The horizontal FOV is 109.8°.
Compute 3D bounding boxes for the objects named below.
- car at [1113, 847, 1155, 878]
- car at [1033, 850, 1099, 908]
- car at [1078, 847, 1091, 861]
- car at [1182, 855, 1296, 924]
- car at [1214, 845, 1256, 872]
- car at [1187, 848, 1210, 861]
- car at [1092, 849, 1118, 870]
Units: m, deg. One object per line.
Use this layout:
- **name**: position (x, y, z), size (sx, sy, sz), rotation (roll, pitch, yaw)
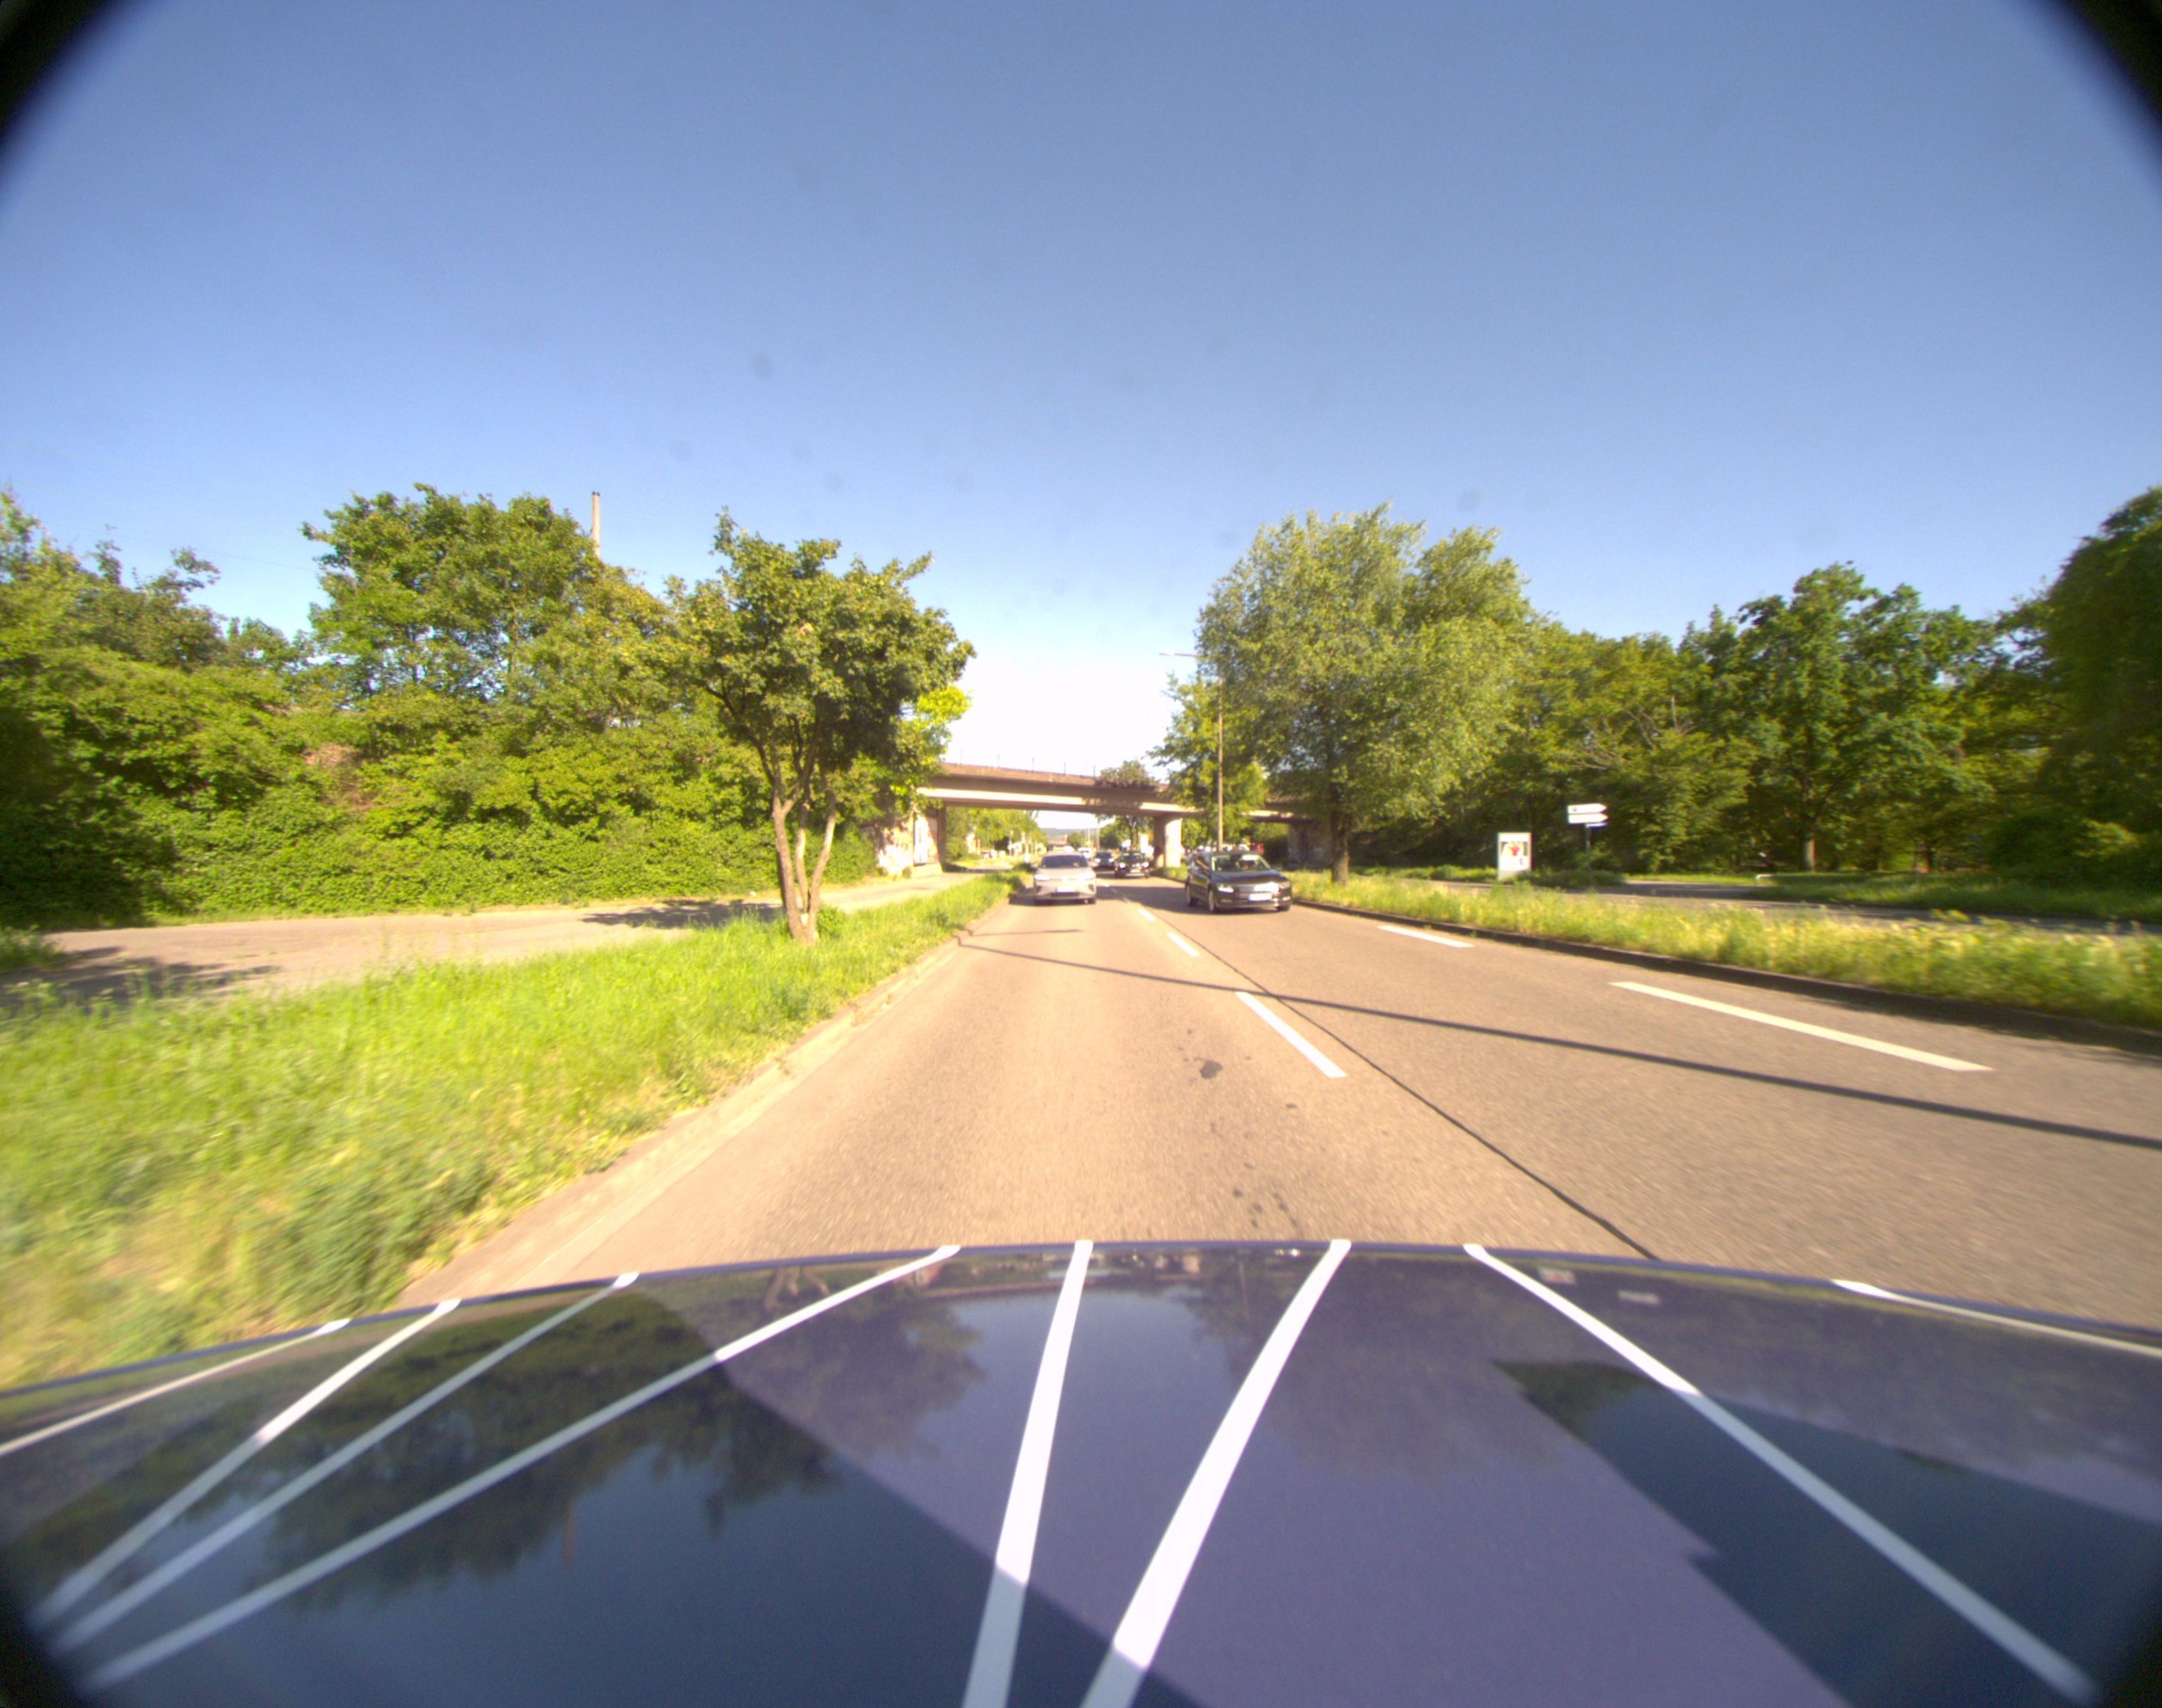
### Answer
- **car**: position (3.050, 0.455, 44.741), size (1.999, 1.674, 4.694), rotation (-1, 1, -1)
- **car**: position (-0.461, 0.706, 23.956), size (1.849, 1.615, 4.264), rotation (-1, 1, -1)
- **car**: position (0.582, -0.073, 125.731), size (2.089, 2.230, 3.999), rotation (-1, 1, -1)
- **car**: position (3.739, 0.782, 18.755), size (1.849, 1.445, 4.264), rotation (-1, 1, -1)
- **car**: position (11.569, 0.296, 57.359), size (1.999, 1.918, 5.244), rotation (0, 1, -1)
- **car**: position (14.302, 0.022, 92.890), size (1.987, 1.543, 4.591), rotation (-2, 1, -1)
- **car**: position (2.114, 0.454, 67.731), size (1.999, 1.779, 4.269), rotation (-1, 1, -1)
